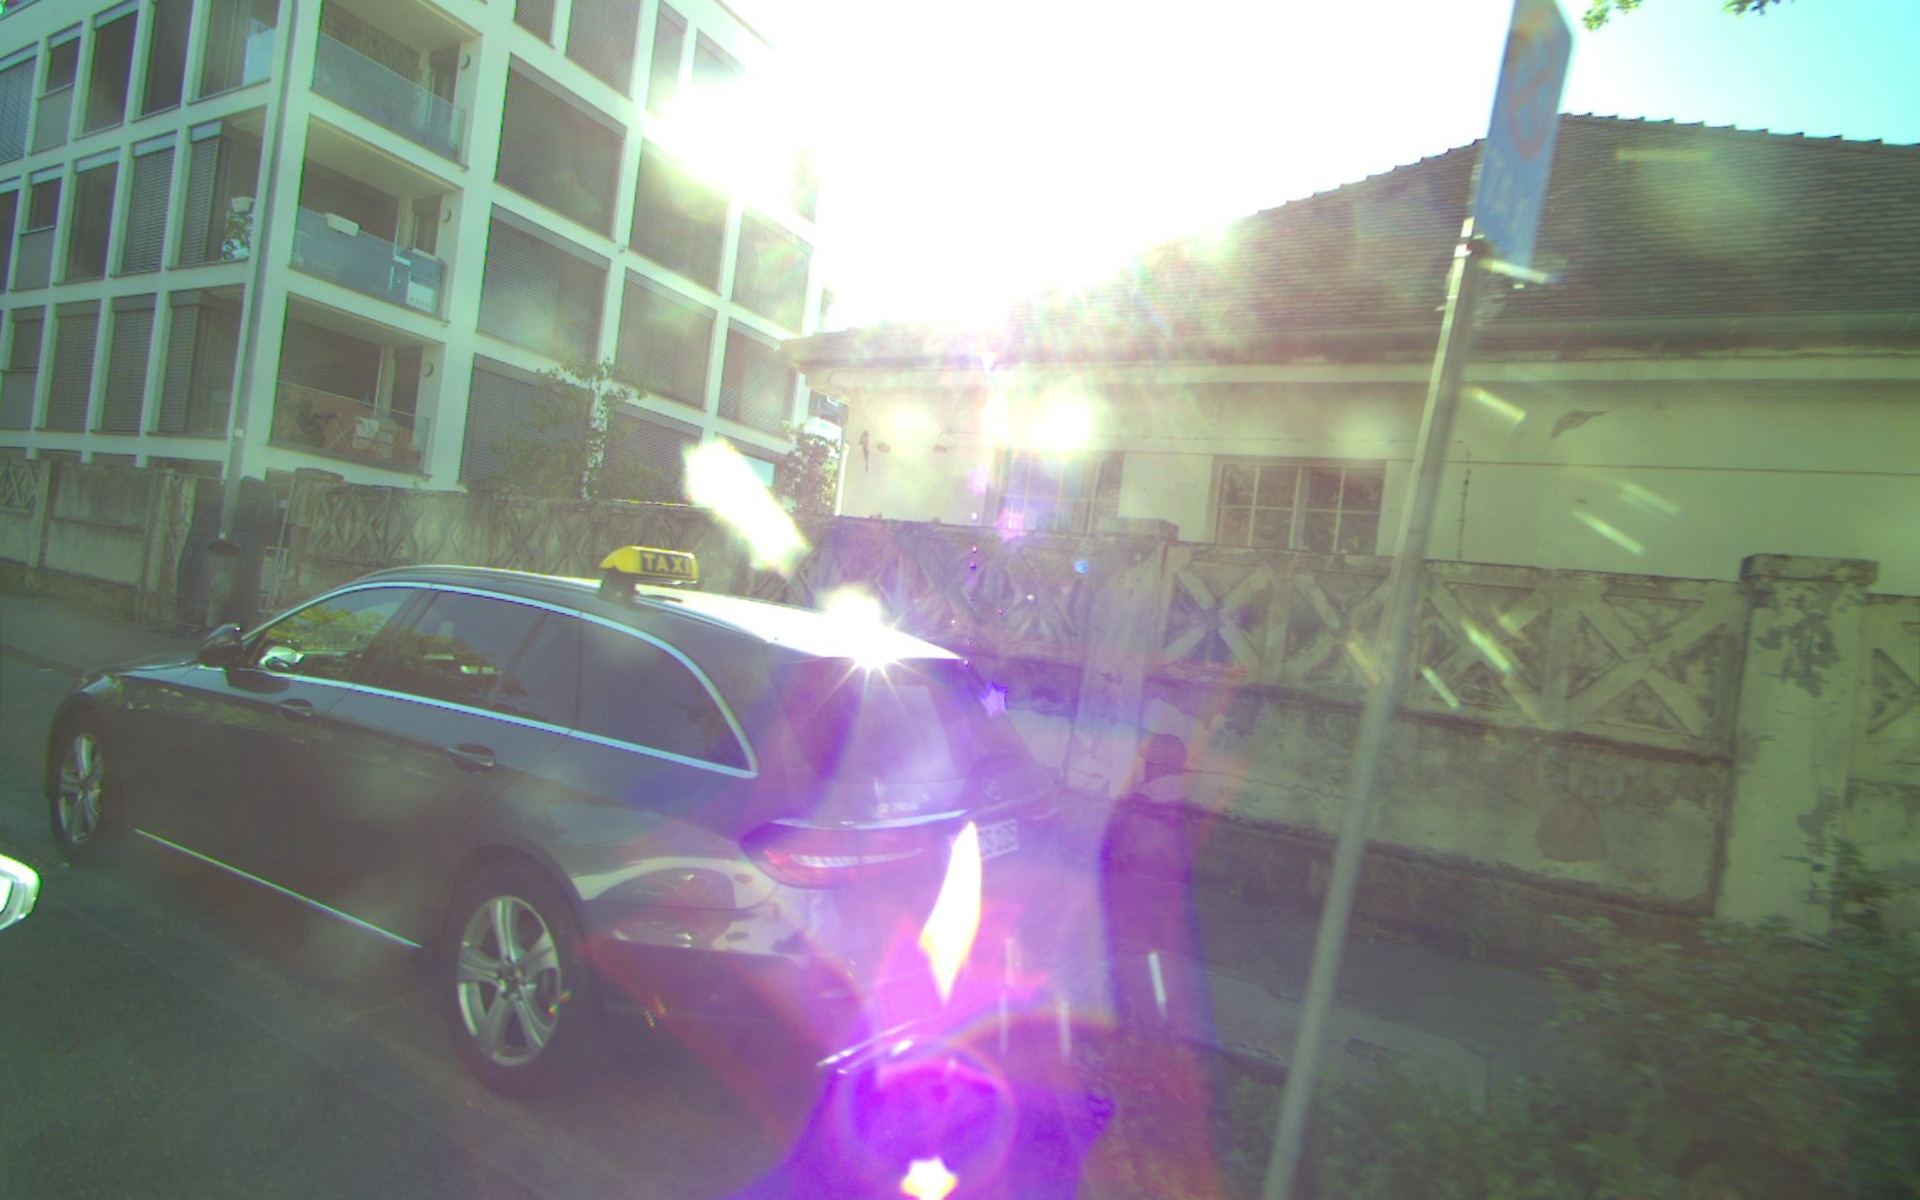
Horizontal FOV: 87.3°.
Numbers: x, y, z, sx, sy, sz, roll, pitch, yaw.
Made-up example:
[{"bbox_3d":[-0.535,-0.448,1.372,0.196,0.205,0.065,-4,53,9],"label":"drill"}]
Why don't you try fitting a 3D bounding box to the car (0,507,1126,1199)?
[{"bbox_3d":[-1.904,0.624,4.211,4.707,1.485,1.707,7,-2,30],"label":"car"}]
